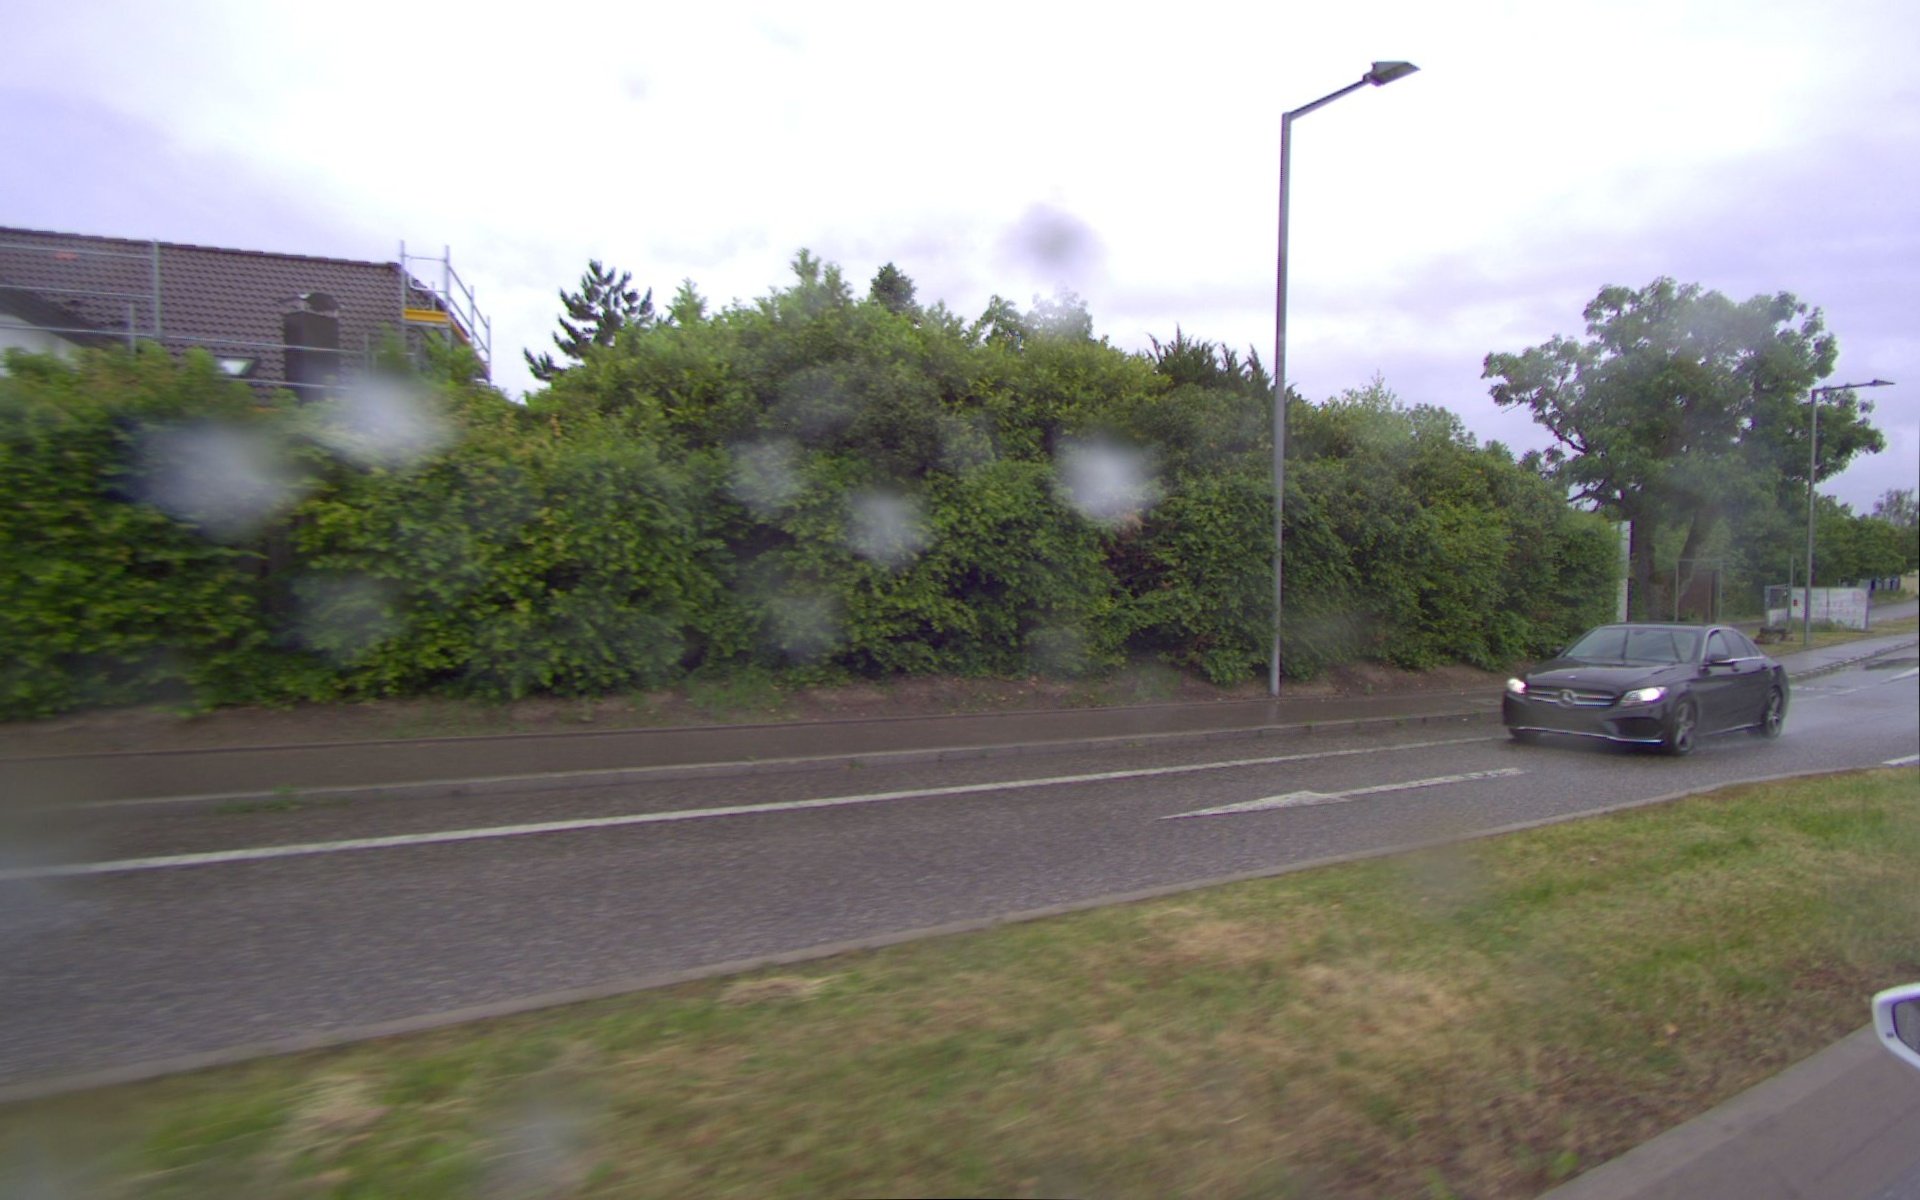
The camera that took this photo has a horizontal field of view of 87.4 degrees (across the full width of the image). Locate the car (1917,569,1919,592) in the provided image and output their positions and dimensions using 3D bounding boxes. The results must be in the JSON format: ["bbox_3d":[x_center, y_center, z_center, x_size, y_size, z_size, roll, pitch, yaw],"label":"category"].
[{"bbox_3d":[104.564,-2.034,105.497,1.982,2.436,5.633,1,1,-37],"label":"car"}]

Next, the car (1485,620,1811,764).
[{"bbox_3d":[8.425,0.975,12.179,4.373,1.433,1.954,1,-1,-36],"label":"car"}]
